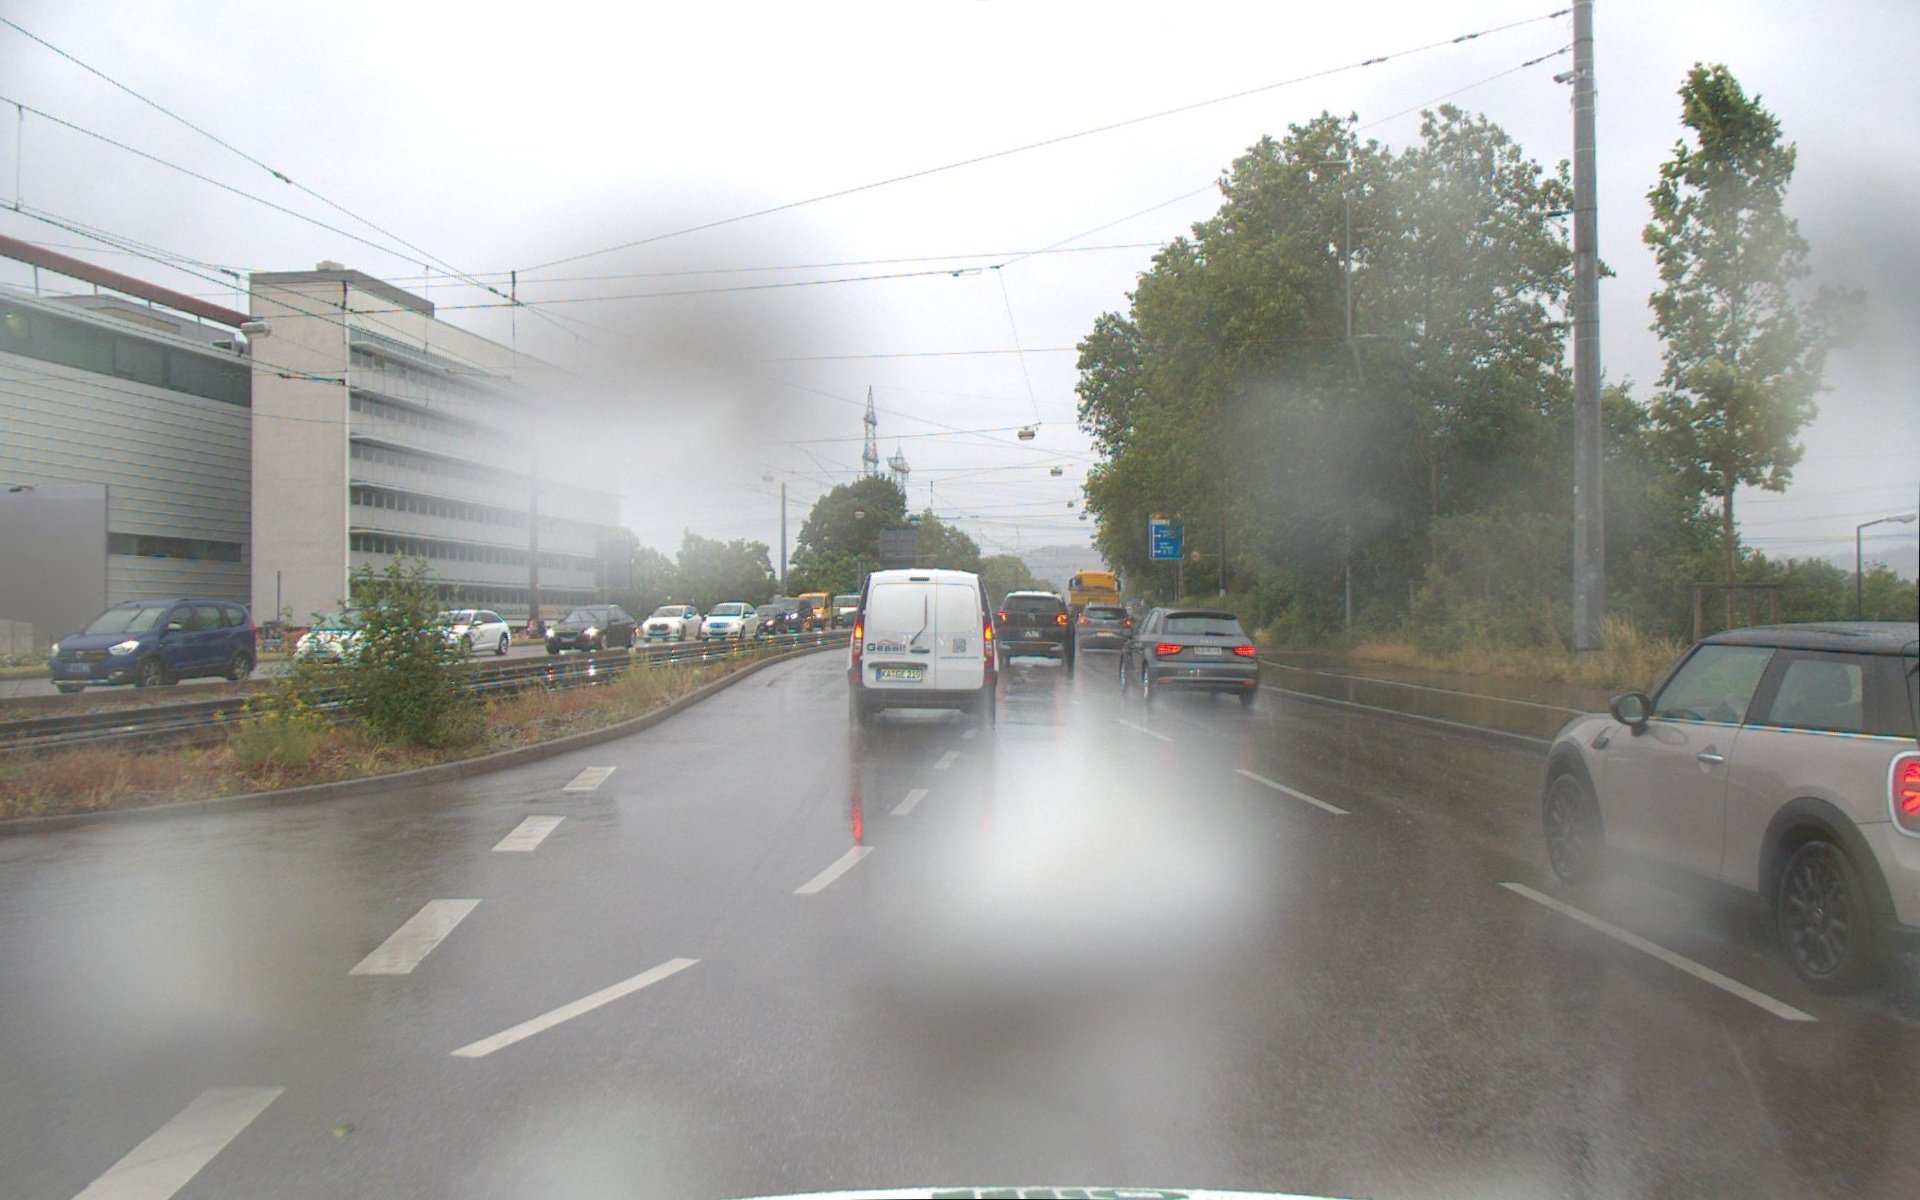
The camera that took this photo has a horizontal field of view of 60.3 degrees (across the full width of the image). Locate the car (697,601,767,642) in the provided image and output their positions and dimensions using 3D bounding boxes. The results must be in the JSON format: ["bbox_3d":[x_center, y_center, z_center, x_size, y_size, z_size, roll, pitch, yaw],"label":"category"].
[{"bbox_3d":[-9.681,0.889,70.540,1.833,1.601,4.332,1,1,8],"label":"car"}]

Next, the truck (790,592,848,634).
[{"bbox_3d":[-8.921,0.828,105.140,2.179,2.505,6.072,1,0,10],"label":"truck"}]

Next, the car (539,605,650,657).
[{"bbox_3d":[-11.855,0.973,53.953,1.882,1.448,5.088,1,1,7],"label":"car"}]

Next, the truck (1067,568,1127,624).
[{"bbox_3d":[7.325,-0.215,87.632,3.047,2.822,6.333,0,0,6],"label":"truck"}]

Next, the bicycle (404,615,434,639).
[{"bbox_3d":[-23.976,1.176,73.321,0.654,1.033,1.557,2,0,6],"label":"bicycle"}]

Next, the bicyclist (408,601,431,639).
[{"bbox_3d":[-23.960,0.882,73.349,0.657,1.617,0.792,2,0,6],"label":"bicyclist"}]

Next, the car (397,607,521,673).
[{"bbox_3d":[-15.676,1.214,52.080,1.951,1.935,4.794,1,0,7],"label":"car"}]

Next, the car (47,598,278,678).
[{"bbox_3d":[-14.577,0.645,30.551,1.676,1.271,4.465,1,1,7],"label":"car"}]

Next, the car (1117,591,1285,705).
[{"bbox_3d":[3.572,0.662,25.236,1.927,1.555,3.990,1,1,-1],"label":"car"}]

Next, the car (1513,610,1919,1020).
[{"bbox_3d":[4.169,0.787,7.779,1.755,1.439,3.852,1,-1,-2],"label":"car"}]

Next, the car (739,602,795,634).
[{"bbox_3d":[-10.518,0.988,90.283,1.818,1.646,4.911,-2,-1,8],"label":"car"}]

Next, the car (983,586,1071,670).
[{"bbox_3d":[1.476,0.569,37.358,1.860,1.747,4.727,1,1,1],"label":"car"}]

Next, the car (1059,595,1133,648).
[{"bbox_3d":[3.903,0.592,48.016,1.781,1.438,3.778,1,1,-1],"label":"car"}]

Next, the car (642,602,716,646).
[{"bbox_3d":[-12.562,1.050,74.152,1.951,1.866,4.696,-1,-1,7],"label":"car"}]

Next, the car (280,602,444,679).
[{"bbox_3d":[-13.684,0.881,38.078,1.675,1.562,4.051,1,1,11],"label":"car"}]

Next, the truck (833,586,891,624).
[{"bbox_3d":[-6.777,0.328,115.370,2.383,2.501,7.225,1,0,10],"label":"truck"}]

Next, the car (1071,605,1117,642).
[{"bbox_3d":[5.738,0.981,70.496,1.779,1.438,3.781,1,1,7],"label":"car"}]

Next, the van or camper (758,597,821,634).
[{"bbox_3d":[-9.816,0.877,95.707,2.256,2.049,5.690,2,0,8],"label":"van or camper"}]

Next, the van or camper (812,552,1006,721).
[{"bbox_3d":[-0.506,0.356,20.116,1.952,1.815,4.002,1,1,4],"label":"van or camper"}]
